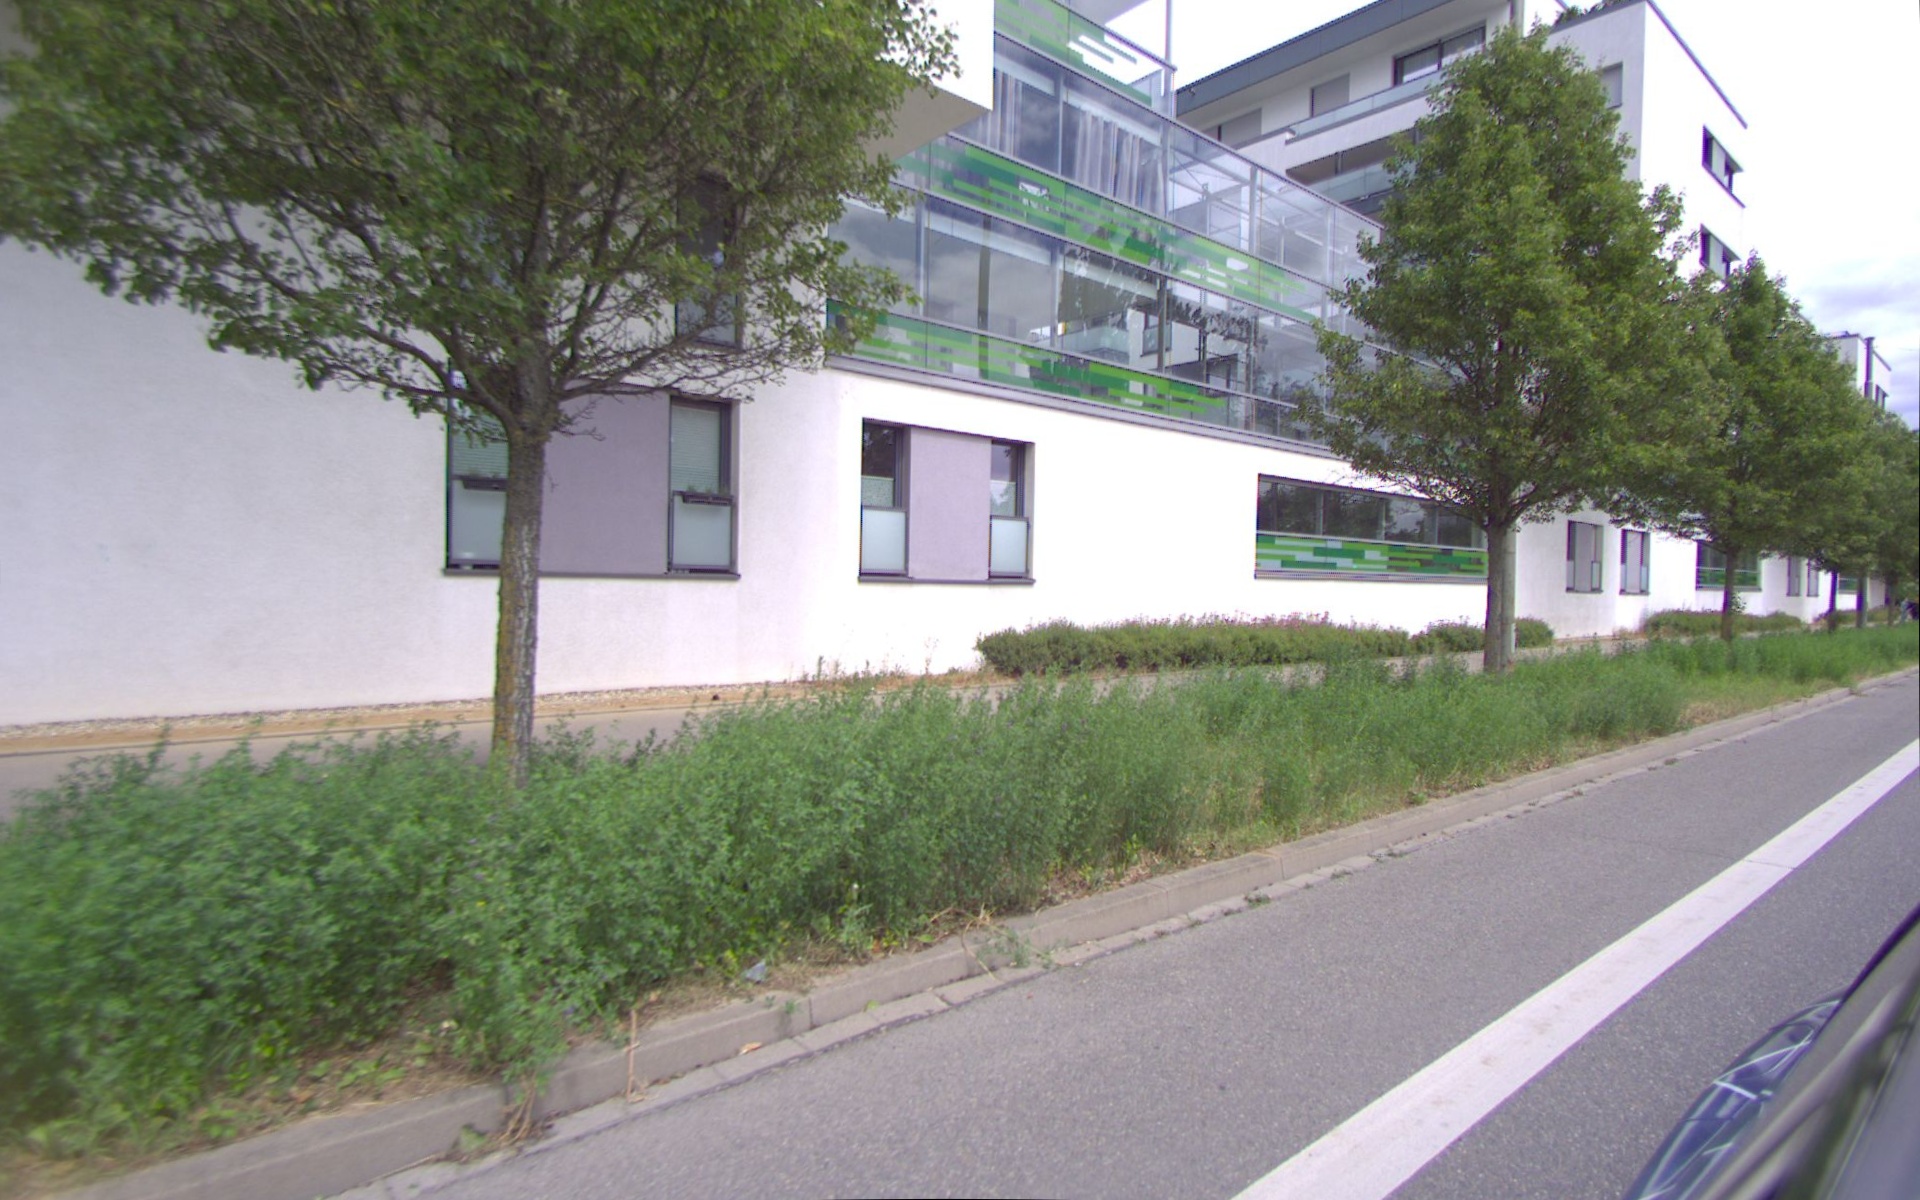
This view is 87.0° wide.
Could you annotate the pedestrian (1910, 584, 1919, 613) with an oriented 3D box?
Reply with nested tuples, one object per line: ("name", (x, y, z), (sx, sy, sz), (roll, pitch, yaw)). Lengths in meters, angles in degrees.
("pedestrian", (61.643, -0.100, 65.051), (0.613, 1.864, 0.584), (-1, -1, 23))
